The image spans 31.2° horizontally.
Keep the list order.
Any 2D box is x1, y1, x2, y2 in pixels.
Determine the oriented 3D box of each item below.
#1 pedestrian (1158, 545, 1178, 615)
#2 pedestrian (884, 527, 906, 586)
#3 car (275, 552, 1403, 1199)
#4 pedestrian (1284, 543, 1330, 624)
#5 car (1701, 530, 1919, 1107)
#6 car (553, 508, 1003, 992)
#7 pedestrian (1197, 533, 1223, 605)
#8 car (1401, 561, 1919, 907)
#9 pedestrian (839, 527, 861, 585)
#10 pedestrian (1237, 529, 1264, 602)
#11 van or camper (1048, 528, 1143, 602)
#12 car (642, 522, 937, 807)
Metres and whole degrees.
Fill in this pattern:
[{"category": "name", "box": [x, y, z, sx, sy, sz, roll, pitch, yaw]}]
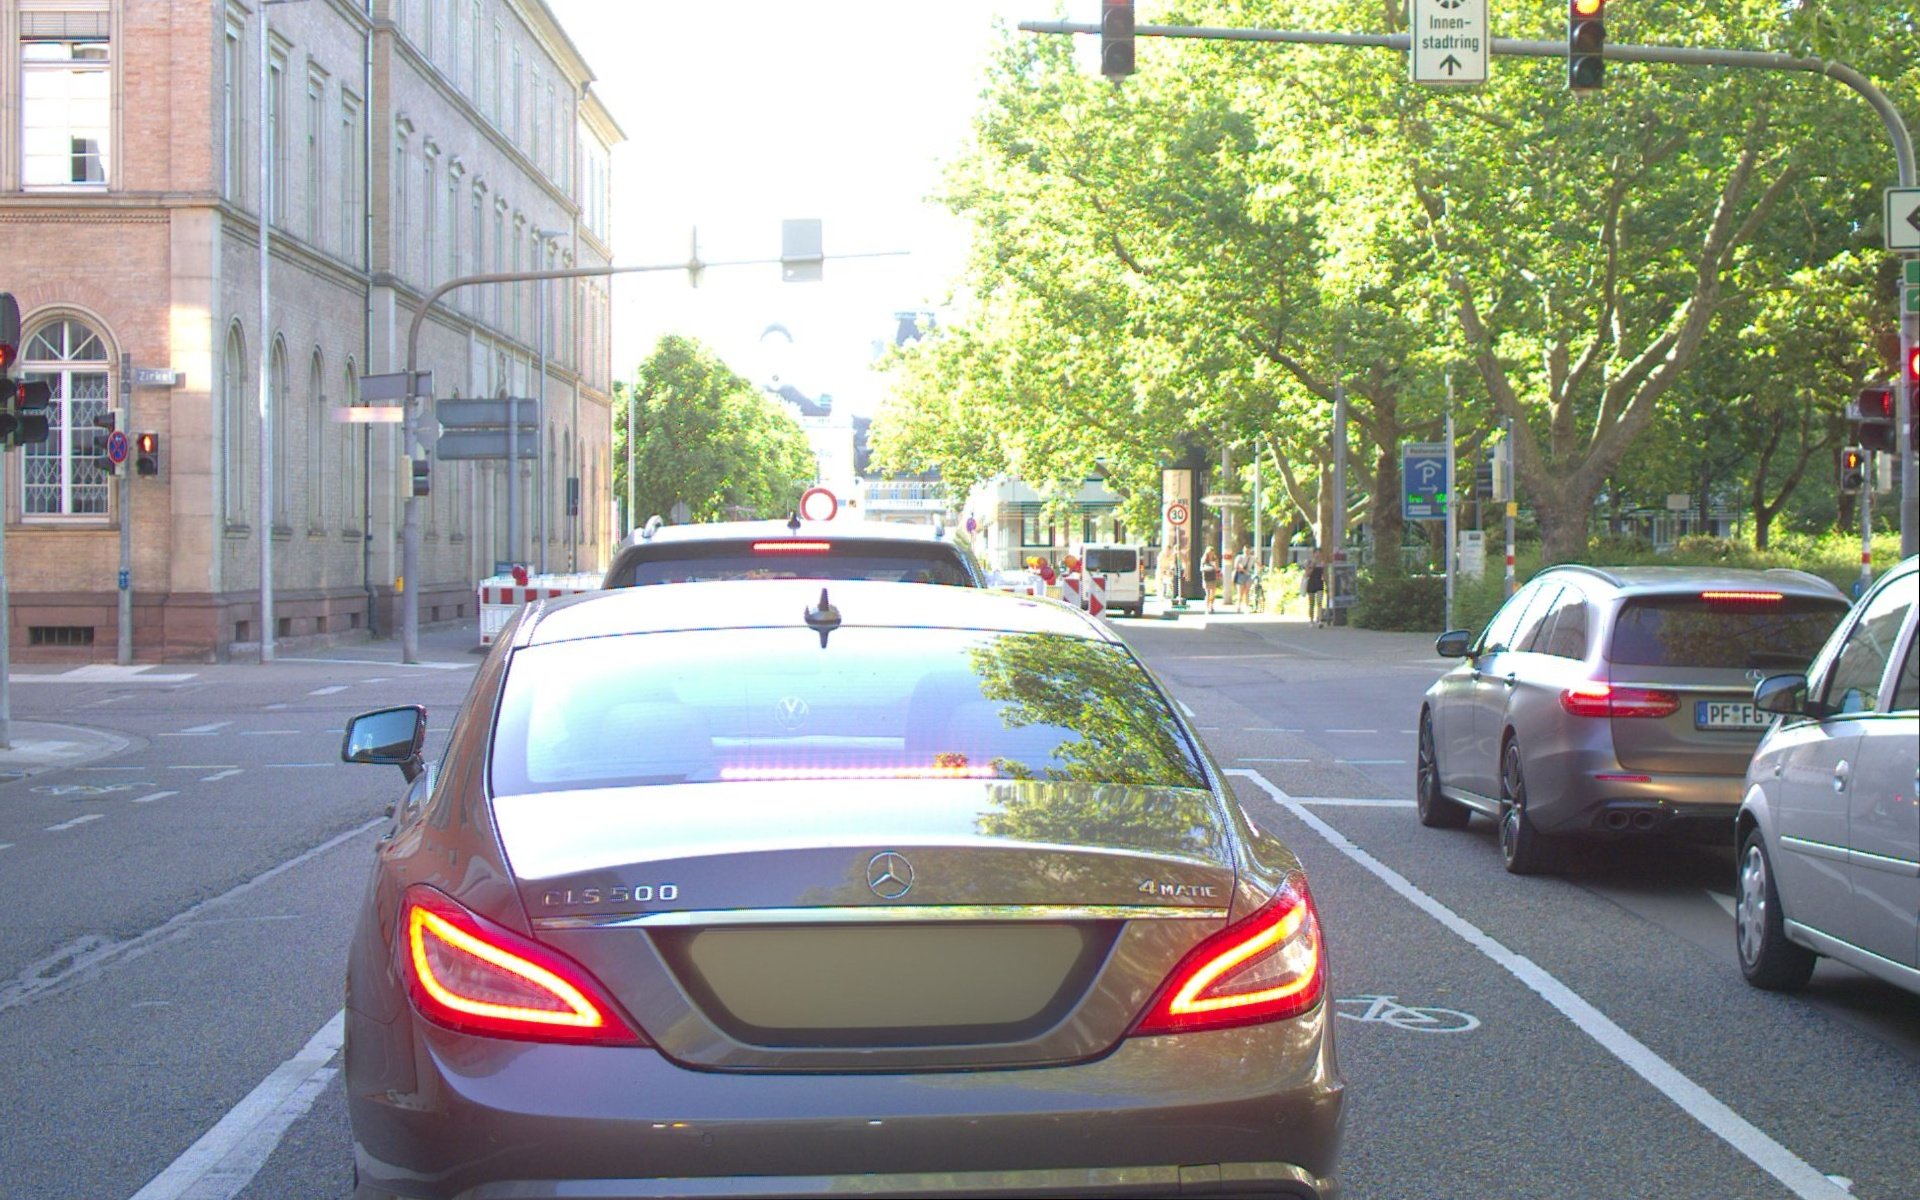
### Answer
[{"category": "pedestrian", "box": [6.022, -0.589, 99.567, 0.539, 2.007, 0.474, 1, 0, -1]}, {"category": "pedestrian", "box": [-2.247, -1.504, 118.803, 0.724, 2.007, 0.748, 0, 1, -4]}, {"category": "car", "box": [-0.465, 0.634, 7.648, 1.803, 1.451, 4.352, 0, 1, -8]}, {"category": "pedestrian", "box": [6.922, -0.338, 68.628, 0.830, 1.601, 0.651, 0, 1, -1]}, {"category": "car", "box": [3.558, 0.611, 10.694, 1.701, 1.597, 3.859, 2, 1, 1]}, {"category": "car", "box": [-0.710, 0.483, 13.677, 1.517, 1.641, 3.881, 1, 1, -3]}, {"category": "pedestrian", "box": [6.314, -0.784, 86.853, 0.603, 1.815, 0.651, 0, 1, -1]}, {"category": "car", "box": [3.539, 0.567, 17.467, 1.913, 1.459, 4.669, 1, 1, -1]}, {"category": "pedestrian", "box": [-3.800, -1.517, 118.942, 0.724, 2.007, 0.748, 0, 1, -4]}, {"category": "pedestrian", "box": [7.332, -0.869, 86.679, 0.603, 1.815, 0.651, 0, 1, -1]}, {"category": "van or camper", "box": [3.626, -0.964, 92.725, 1.993, 1.935, 4.595, 0, 1, -5]}, {"category": "car", "box": [-1.076, 0.363, 23.242, 1.820, 1.756, 4.000, 0, 1, -1]}]
